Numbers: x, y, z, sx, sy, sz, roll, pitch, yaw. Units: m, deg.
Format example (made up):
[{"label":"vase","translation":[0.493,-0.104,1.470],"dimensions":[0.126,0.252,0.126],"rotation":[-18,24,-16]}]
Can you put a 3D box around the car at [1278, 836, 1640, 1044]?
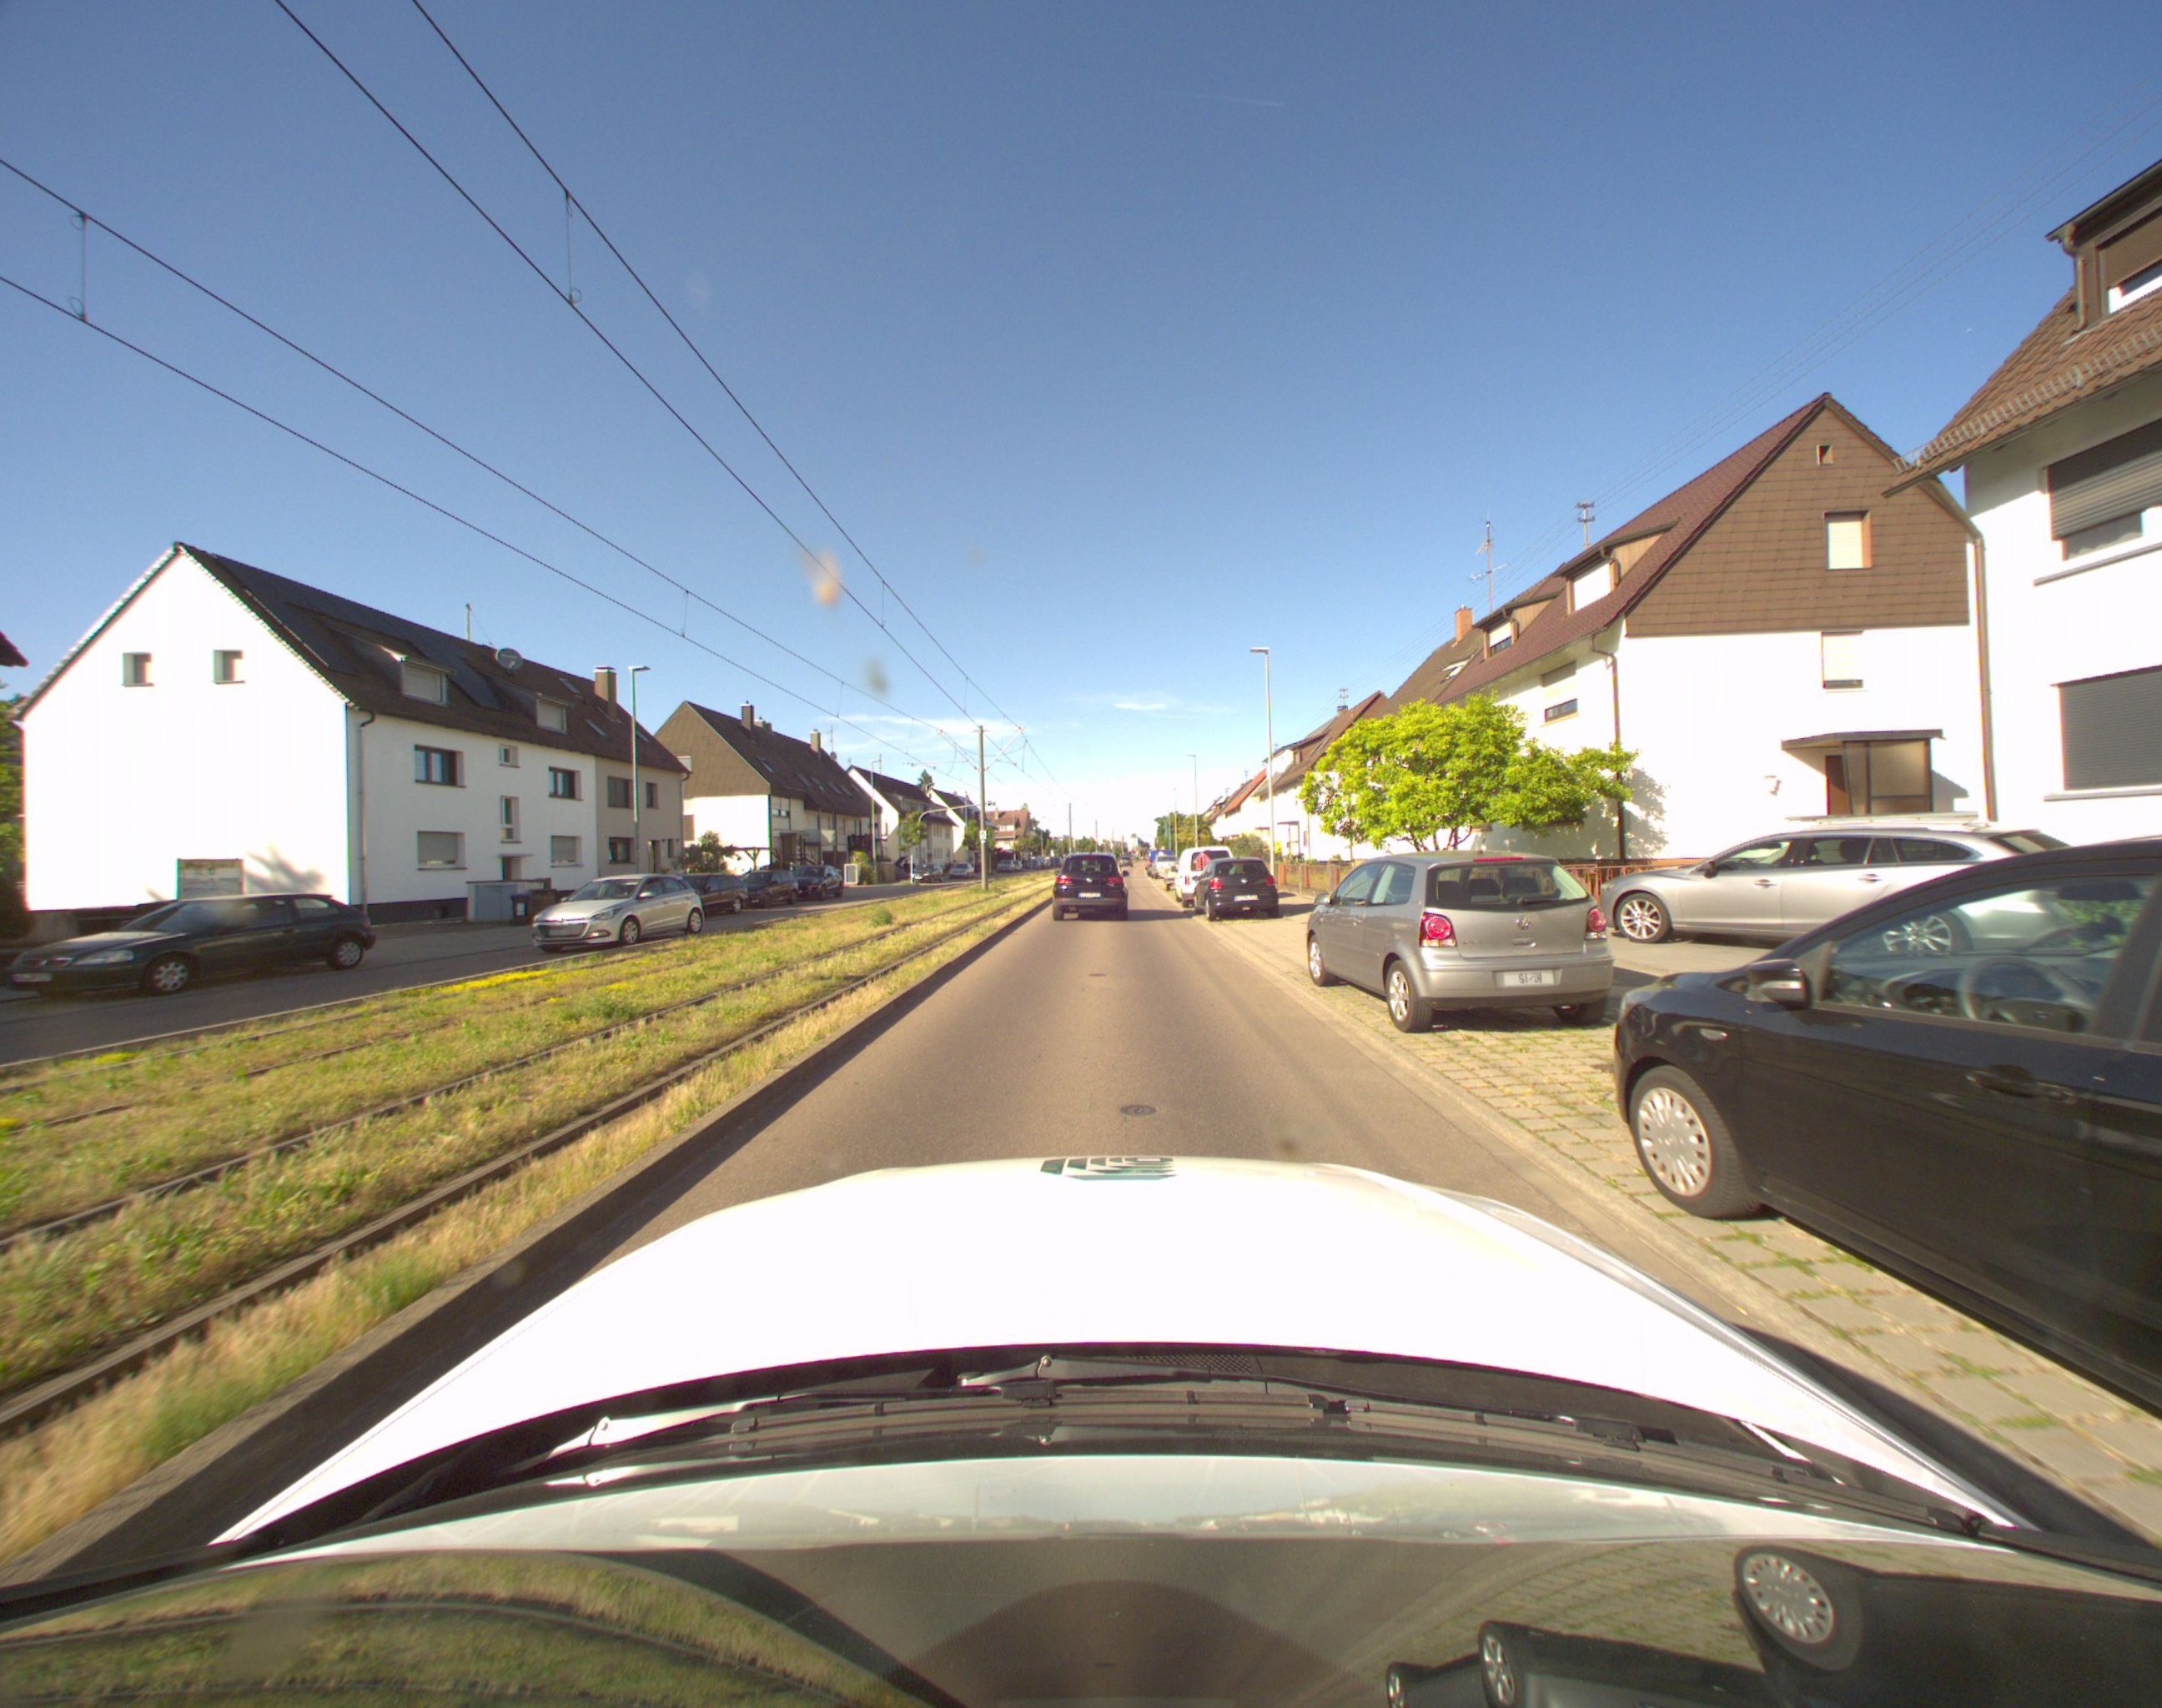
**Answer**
[{"label":"car","translation":[3.367,0.655,8.313],"dimensions":[1.610,1.475,4.449],"rotation":[-3,0,1]}]

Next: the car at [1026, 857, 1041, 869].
[{"label":"car","translation":[-6.806,1.308,117.676],"dimensions":[1.653,1.581,4.003],"rotation":[-3,-2,3]}]

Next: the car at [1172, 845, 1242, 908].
[{"label":"car","translation":[3.951,0.651,26.131],"dimensions":[1.683,1.776,4.659],"rotation":[-3,0,3]}]

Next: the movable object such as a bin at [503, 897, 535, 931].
[{"label":"movable object such as a bin","translation":[-16.132,1.725,23.386],"dimensions":[0.387,0.927,0.704],"rotation":[-3,-2,1]}]

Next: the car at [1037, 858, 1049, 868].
[{"label":"car","translation":[-5.775,1.299,123.415],"dimensions":[1.509,1.361,3.592],"rotation":[-3,0,2]}]

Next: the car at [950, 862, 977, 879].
[{"label":"car","translation":[-10.363,1.512,72.230],"dimensions":[1.612,1.409,3.720],"rotation":[-3,-2,3]}]

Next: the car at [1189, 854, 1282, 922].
[{"label":"car","translation":[3.746,0.779,20.424],"dimensions":[1.664,1.453,4.128],"rotation":[-3,0,2]}]

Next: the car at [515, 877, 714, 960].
[{"label":"car","translation":[-9.648,1.266,17.261],"dimensions":[1.701,1.490,4.027],"rotation":[-3,-2,3]}]

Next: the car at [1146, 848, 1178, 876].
[{"label":"car","translation":[5.845,0.571,59.481],"dimensions":[1.985,1.862,4.921],"rotation":[-3,0,3]}]

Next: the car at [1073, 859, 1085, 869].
[{"label":"car","translation":[-0.359,1.848,148.703],"dimensions":[1.866,1.655,4.002],"rotation":[-3,-2,3]}]

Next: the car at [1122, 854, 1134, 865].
[{"label":"car","translation":[6.346,0.801,110.502],"dimensions":[1.566,1.391,3.617],"rotation":[-3,0,2]}]

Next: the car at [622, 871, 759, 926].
[{"label":"car","translation":[-12.907,1.413,27.334],"dimensions":[1.868,1.523,4.887],"rotation":[-2,0,5]}]

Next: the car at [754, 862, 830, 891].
[{"label":"car","translation":[-18.415,1.407,52.069],"dimensions":[4.154,1.616,1.758],"rotation":[-2,0,-2]}]

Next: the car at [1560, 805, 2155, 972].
[{"label":"car","translation":[8.836,0.332,9.963],"dimensions":[2.003,1.445,4.844],"rotation":[-3,0,-23]}]

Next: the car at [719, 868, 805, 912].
[{"label":"car","translation":[-12.647,1.389,32.563],"dimensions":[1.514,1.475,4.204],"rotation":[-2,0,3]}]

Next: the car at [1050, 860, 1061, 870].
[{"label":"car","translation":[-4.361,1.872,140.394],"dimensions":[1.459,1.677,3.289],"rotation":[-3,-1,3]}]

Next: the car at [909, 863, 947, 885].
[{"label":"car","translation":[-11.140,1.433,59.501],"dimensions":[1.610,1.453,3.725],"rotation":[-3,0,7]}]

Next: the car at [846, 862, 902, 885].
[{"label":"car","translation":[-15.991,1.469,62.945],"dimensions":[3.894,1.568,1.732],"rotation":[-2,0,-4]}]

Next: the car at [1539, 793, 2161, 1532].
[{"label":"car","translation":[3.117,0.618,2.209],"dimensions":[1.659,1.547,3.838],"rotation":[-4,0,3]}]

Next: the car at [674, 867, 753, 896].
[{"label":"car","translation":[-23.508,1.745,52.209],"dimensions":[4.138,1.654,1.860],"rotation":[-2,0,5]}]

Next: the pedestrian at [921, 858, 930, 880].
[{"label":"pedestrian","translation":[-12.573,1.244,65.867],"dimensions":[0.466,1.746,0.536],"rotation":[-2,0,2]}]

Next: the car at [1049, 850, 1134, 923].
[{"label":"car","translation":[0.158,0.777,21.224],"dimensions":[1.809,1.671,4.250],"rotation":[-1,-1,-5]}]

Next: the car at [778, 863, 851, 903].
[{"label":"car","translation":[-12.366,1.281,38.081],"dimensions":[1.797,1.597,4.810],"rotation":[-3,0,-1]}]

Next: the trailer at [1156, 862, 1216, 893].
[{"label":"trailer","translation":[4.591,1.018,36.310],"dimensions":[2.196,1.093,4.373],"rotation":[-4,0,2]}]

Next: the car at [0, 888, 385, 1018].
[{"label":"car","translation":[-13.674,1.390,12.741],"dimensions":[1.783,1.462,4.170],"rotation":[-2,0,3]}]

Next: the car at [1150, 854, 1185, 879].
[{"label":"car","translation":[5.604,0.760,53.108],"dimensions":[1.780,1.441,4.460],"rotation":[-4,0,1]}]

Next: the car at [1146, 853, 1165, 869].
[{"label":"car","translation":[7.449,0.712,81.575],"dimensions":[1.638,1.534,3.867],"rotation":[-2,0,3]}]

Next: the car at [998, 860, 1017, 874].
[{"label":"car","translation":[-8.557,1.527,95.343],"dimensions":[1.652,1.496,3.582],"rotation":[-3,0,3]}]

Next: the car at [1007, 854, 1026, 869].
[{"label":"car","translation":[-8.046,0.917,101.494],"dimensions":[1.796,1.631,4.003],"rotation":[-3,0,3]}]
